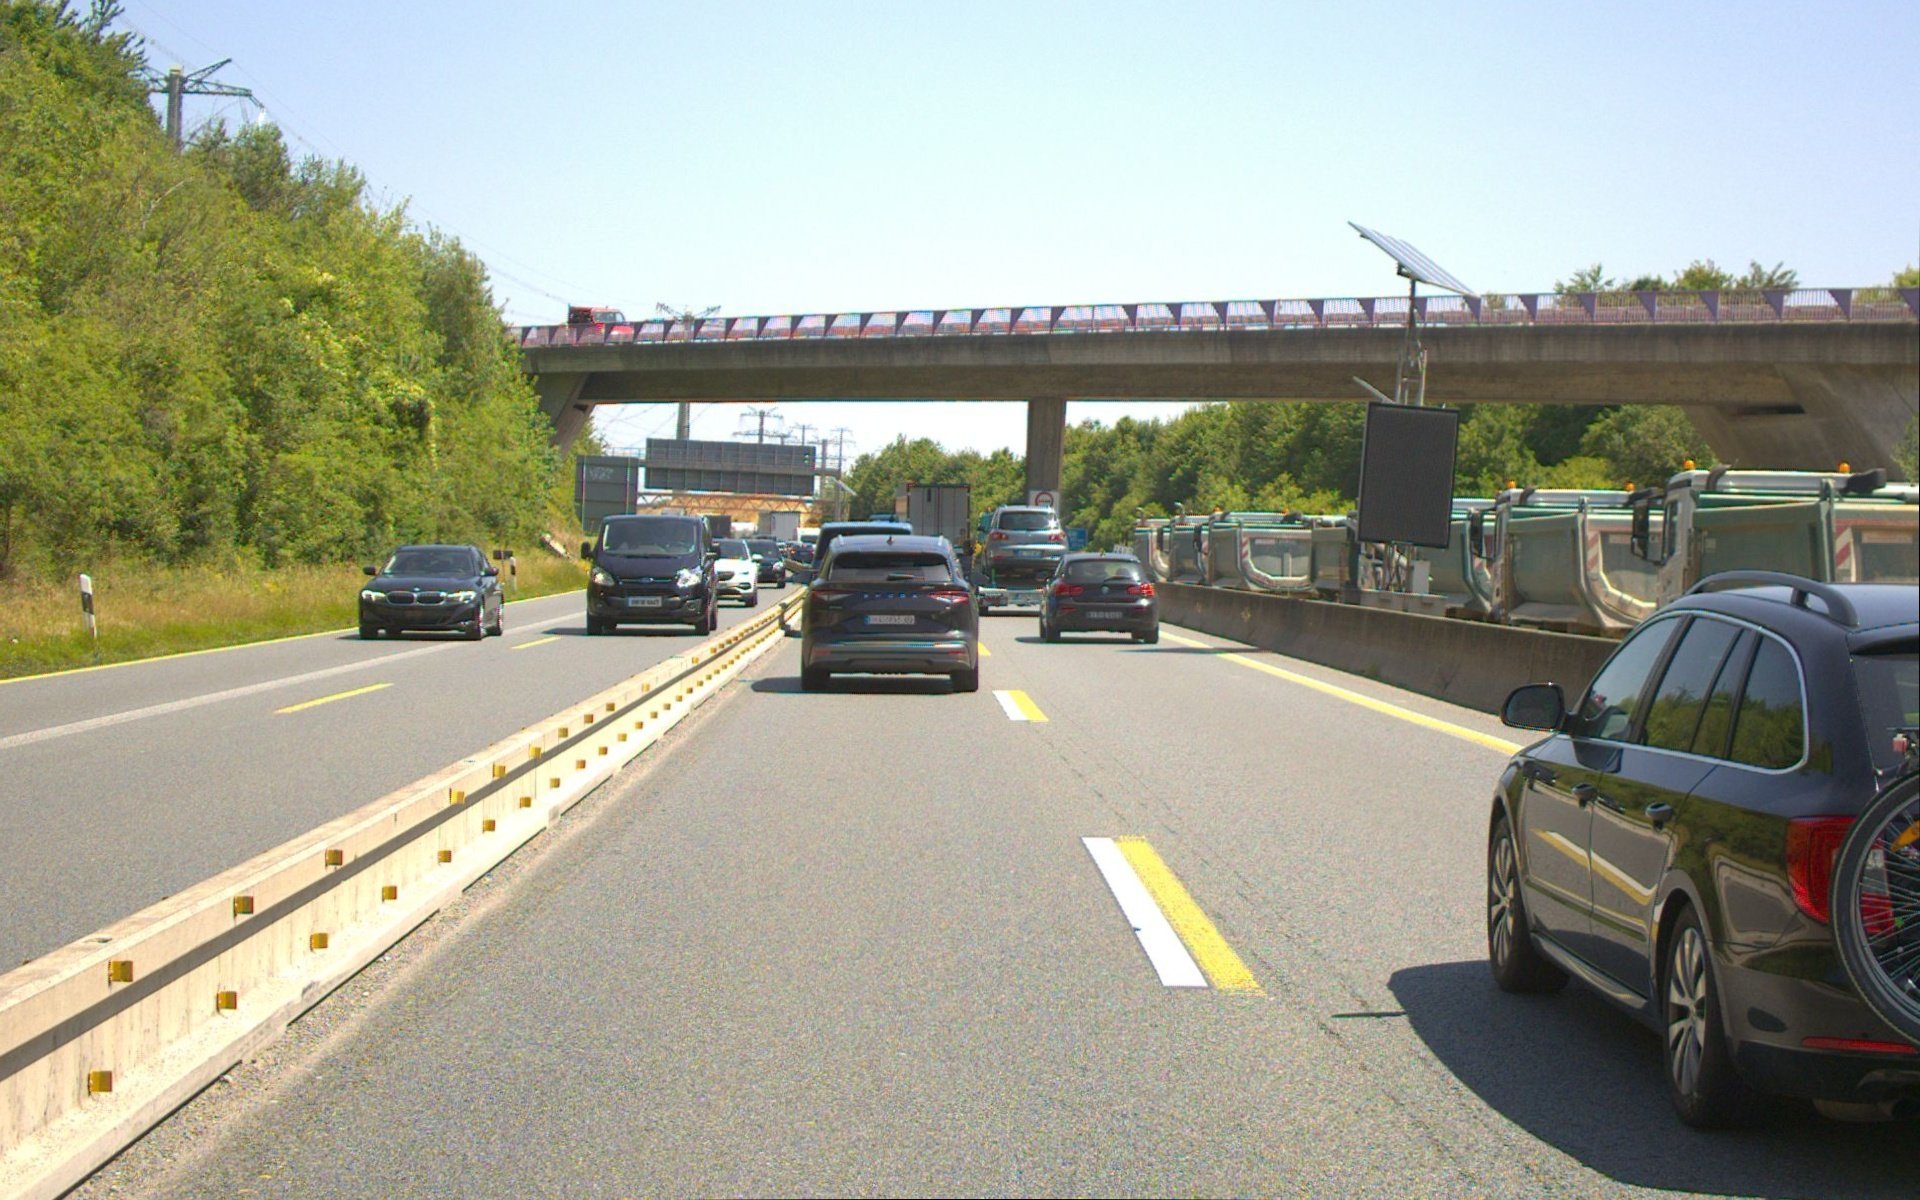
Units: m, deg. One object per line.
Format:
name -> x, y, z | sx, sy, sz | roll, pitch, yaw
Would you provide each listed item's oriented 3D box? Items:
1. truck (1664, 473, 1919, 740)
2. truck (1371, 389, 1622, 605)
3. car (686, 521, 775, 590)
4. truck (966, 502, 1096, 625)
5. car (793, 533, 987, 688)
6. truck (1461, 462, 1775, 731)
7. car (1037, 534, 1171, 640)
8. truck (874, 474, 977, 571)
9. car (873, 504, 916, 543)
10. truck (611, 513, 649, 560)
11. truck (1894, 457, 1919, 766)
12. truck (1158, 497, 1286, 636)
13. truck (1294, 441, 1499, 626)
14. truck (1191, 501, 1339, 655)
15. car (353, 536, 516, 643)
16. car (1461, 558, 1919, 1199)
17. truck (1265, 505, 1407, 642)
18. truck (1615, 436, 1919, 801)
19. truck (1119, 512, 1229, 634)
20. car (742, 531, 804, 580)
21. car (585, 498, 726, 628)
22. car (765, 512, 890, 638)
truck -> 12.337, 0.013, 48.614 | 2.687, 3.366, 9.603 | 1, 1, 0
truck -> 9.505, -1.808, 61.986 | 2.687, 3.545, 9.326 | 1, 1, -2
car -> -5.459, -1.083, 82.146 | 1.843, 1.528, 4.671 | 2, 1, -1
truck -> 1.521, -0.863, 76.810 | 2.405, 2.549, 7.501 | 1, 1, -2
car -> -0.707, 0.075, 36.360 | 1.899, 1.500, 4.276 | 1, 1, 0
truck -> 9.484, -0.127, 50.669 | 2.687, 3.545, 9.407 | 1, 1, 0
car -> 2.271, -0.229, 55.165 | 1.899, 1.580, 4.276 | 1, 1, 0
truck -> -1.529, -3.237, 144.399 | 3.292, 3.832, 10.112 | 1, 1, -6
car -> -3.449, -3.967, 179.708 | 1.899, 1.962, 4.277 | 1, 1, -5
truck -> -22.939, -4.407, 238.601 | 2.508, 3.175, 10.112 | 1, 1, -6
truck -> 12.467, 0.225, 35.659 | 2.687, 3.545, 9.603 | 1, 1, -1
truck -> 7.617, -1.034, 101.071 | 2.687, 3.842, 9.326 | 1, 1, -2
truck -> 8.955, -1.374, 71.612 | 2.687, 3.545, 9.326 | 1, 1, -2
truck -> 7.837, -0.621, 89.433 | 2.687, 3.748, 9.326 | 1, 1, -2
car -> -7.962, -0.195, 52.403 | 1.793, 1.520, 4.531 | 2, 1, -1
car -> 2.737, 0.653, 9.566 | 1.899, 1.485, 4.948 | 1, 1, 0
truck -> 10.733, -0.810, 99.072 | 2.687, 3.714, 9.326 | 1, 1, -2
truck -> 9.685, 0.111, 38.366 | 2.687, 3.545, 9.603 | 1, 1, -1
truck -> 6.993, -0.936, 113.661 | 2.687, 3.830, 9.326 | 1, 1, -2
car -> -6.320, -1.518, 116.448 | 1.843, 1.528, 4.671 | 2, 1, -1
car -> -4.980, -0.638, 56.828 | 1.890, 2.007, 4.818 | 2, 1, -1
car -> -2.166, -0.433, 57.187 | 1.899, 1.962, 4.276 | 1, 1, 0
